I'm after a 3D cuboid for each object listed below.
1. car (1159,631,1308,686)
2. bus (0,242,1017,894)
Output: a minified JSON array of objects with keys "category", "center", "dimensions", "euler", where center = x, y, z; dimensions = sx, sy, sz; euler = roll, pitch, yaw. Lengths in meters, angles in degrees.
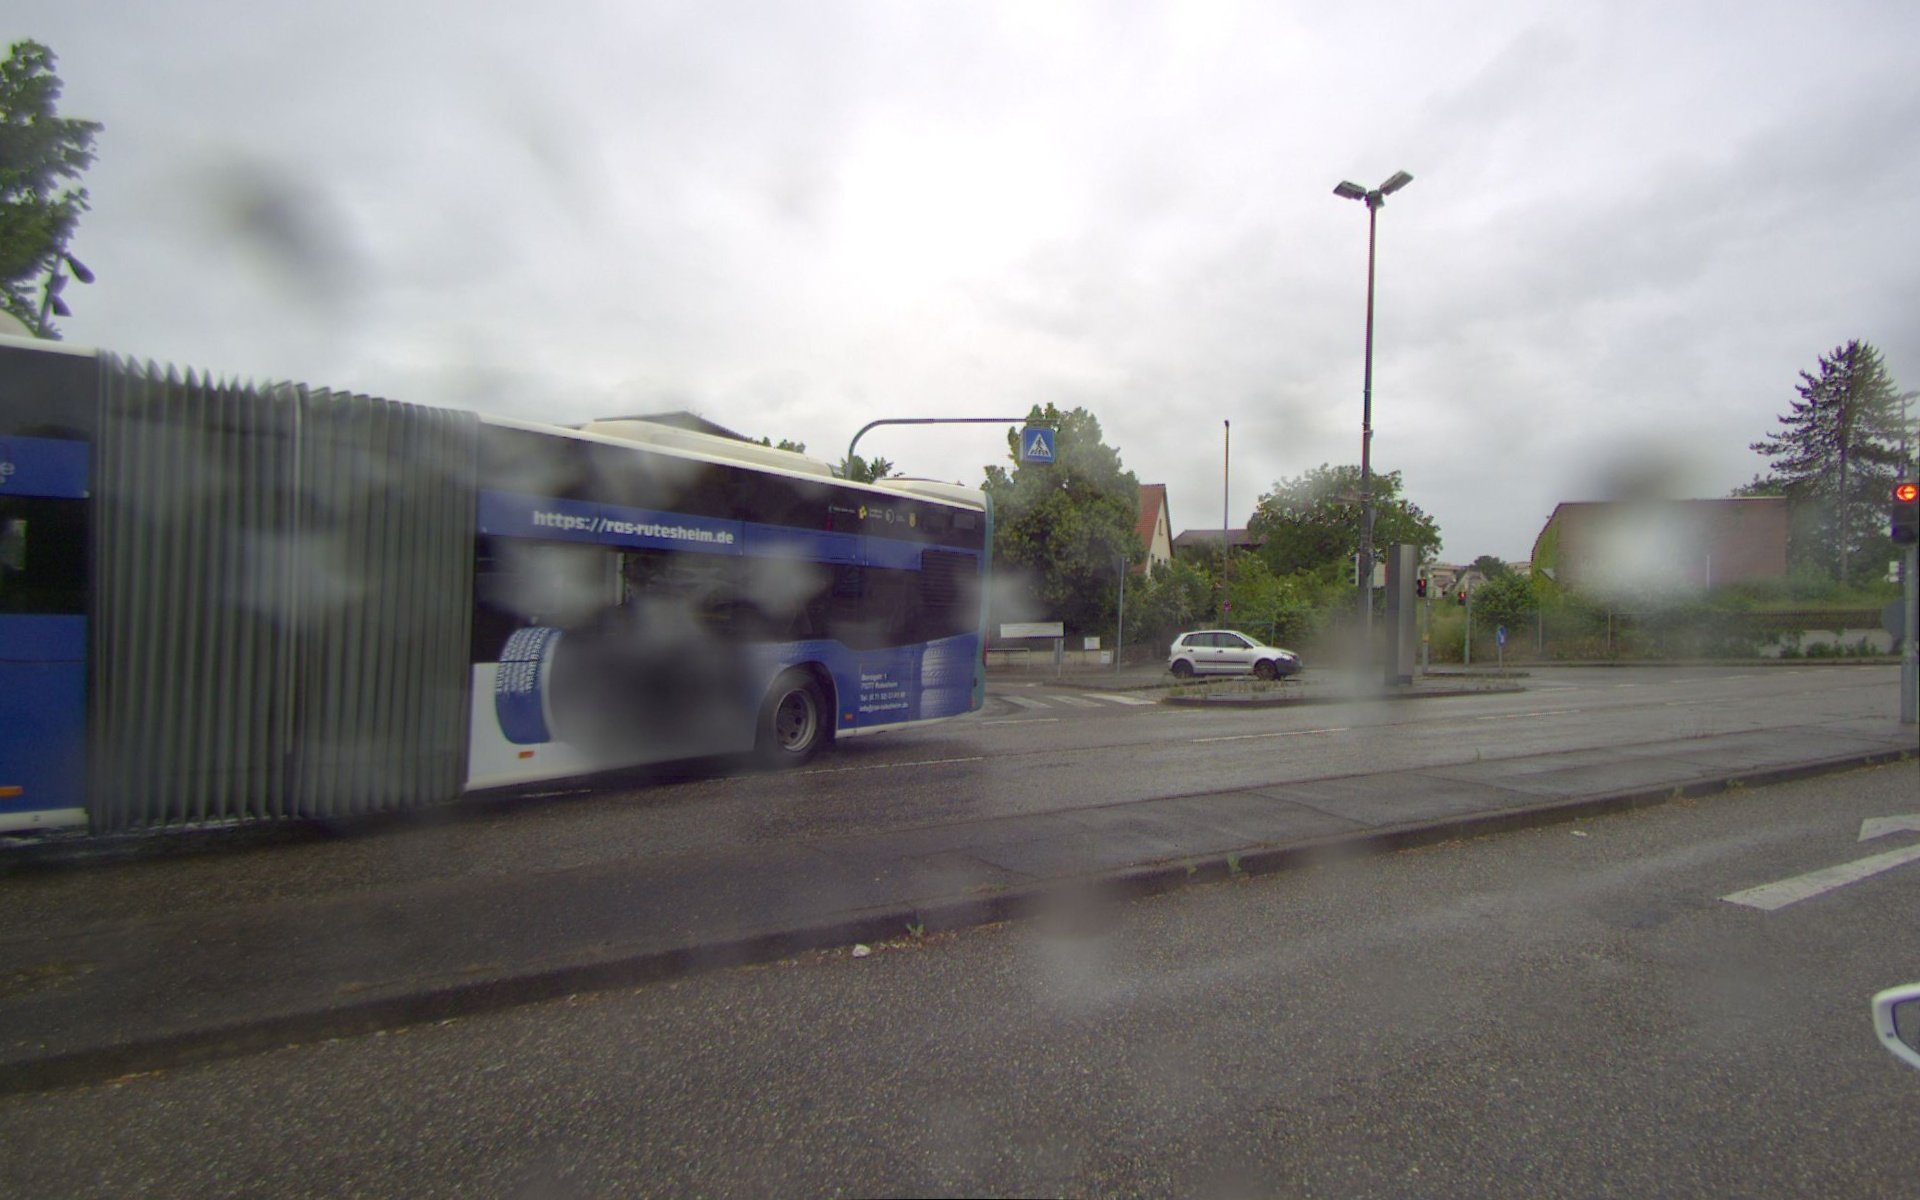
[{"category":"car","center":[7.984,1.668,29.430],"dimensions":[3.930,1.486,1.583],"euler":[-1,-2,32]},{"category":"bus","center":[-2.960,0.000,9.540],"dimensions":[2.738,3.155,9.345],"euler":[0,-2,33]}]
